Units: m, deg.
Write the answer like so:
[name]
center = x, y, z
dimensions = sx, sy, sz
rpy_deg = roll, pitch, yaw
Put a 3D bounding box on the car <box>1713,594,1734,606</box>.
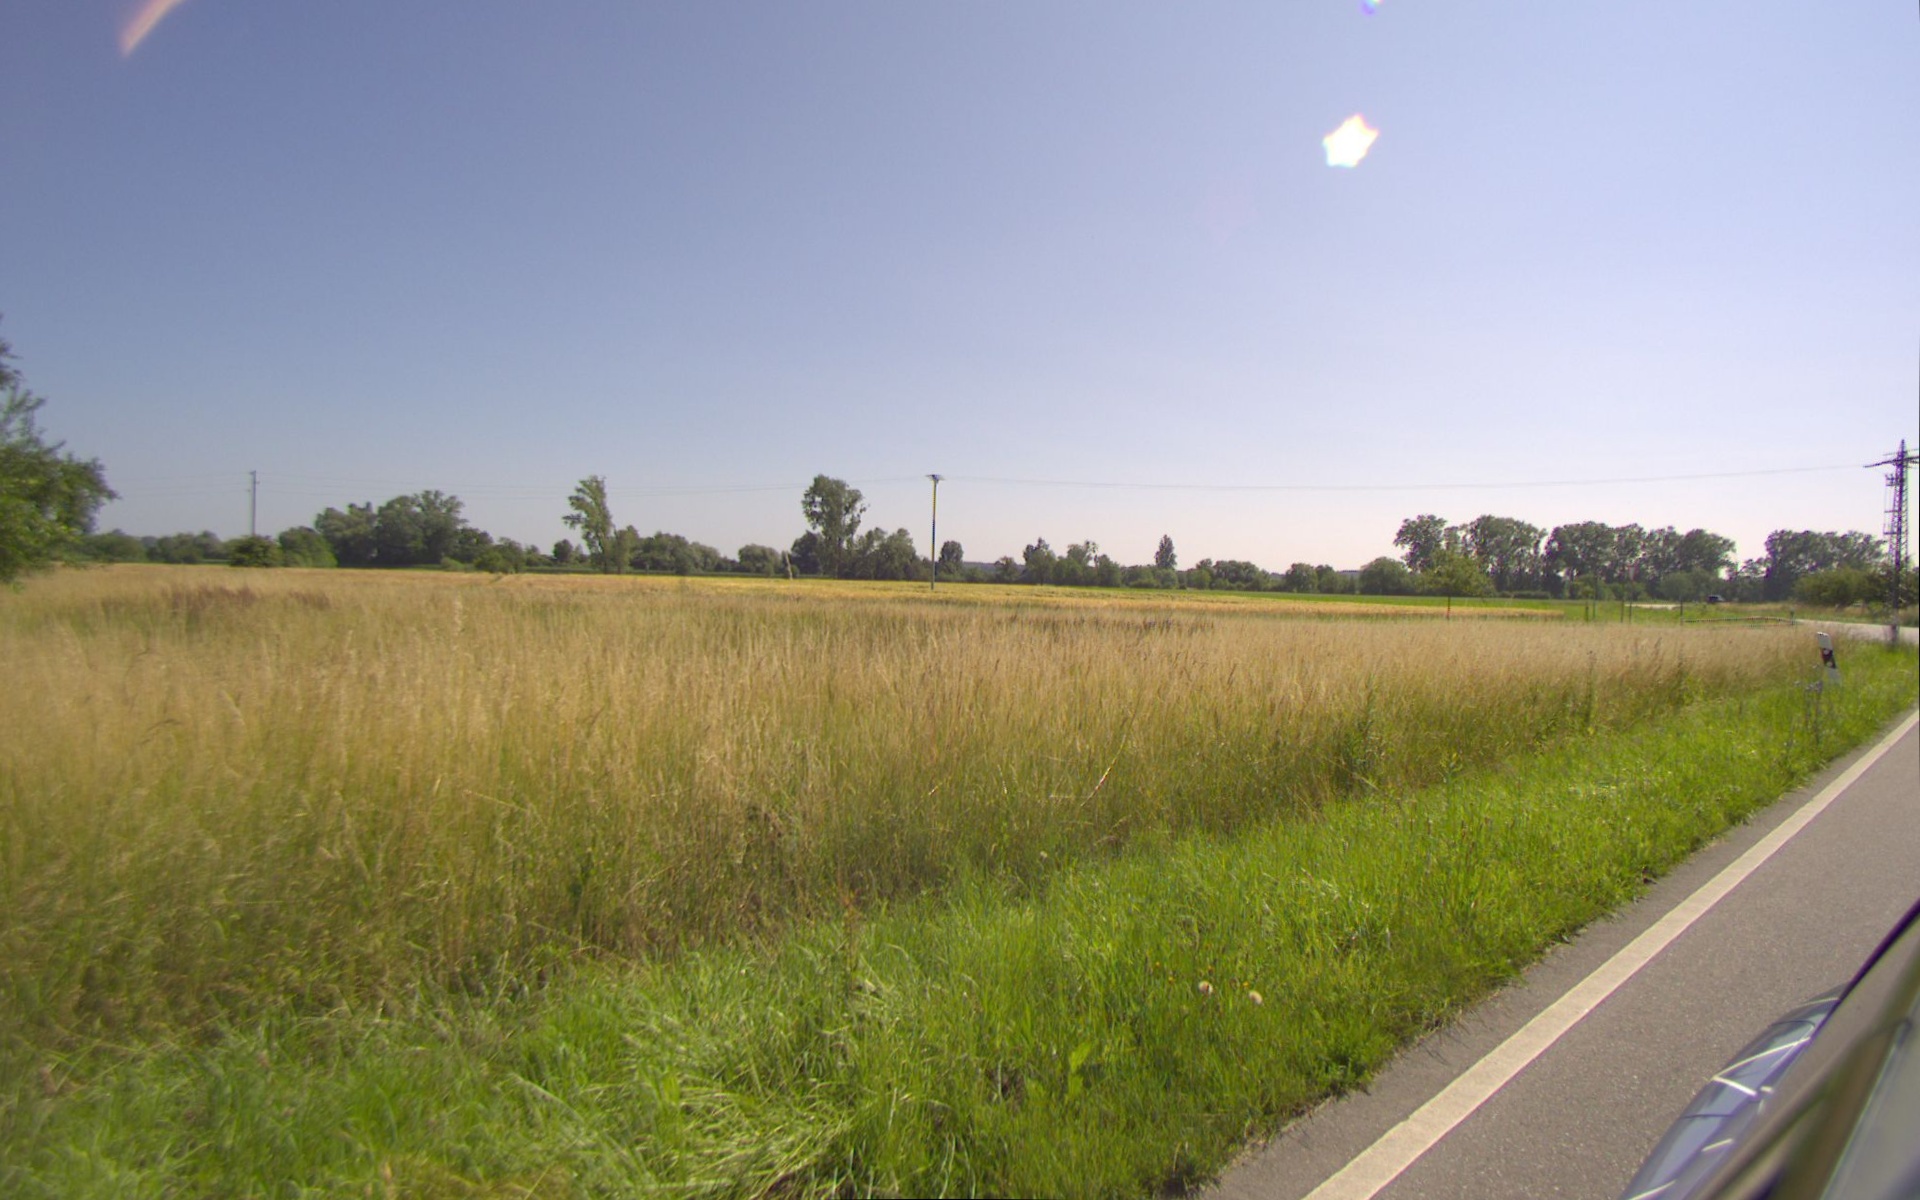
[car]
center = 126.993, 0.006, 168.293
dimensions = 4.219, 1.774, 1.870
rpy_deg = 1, 2, -39
